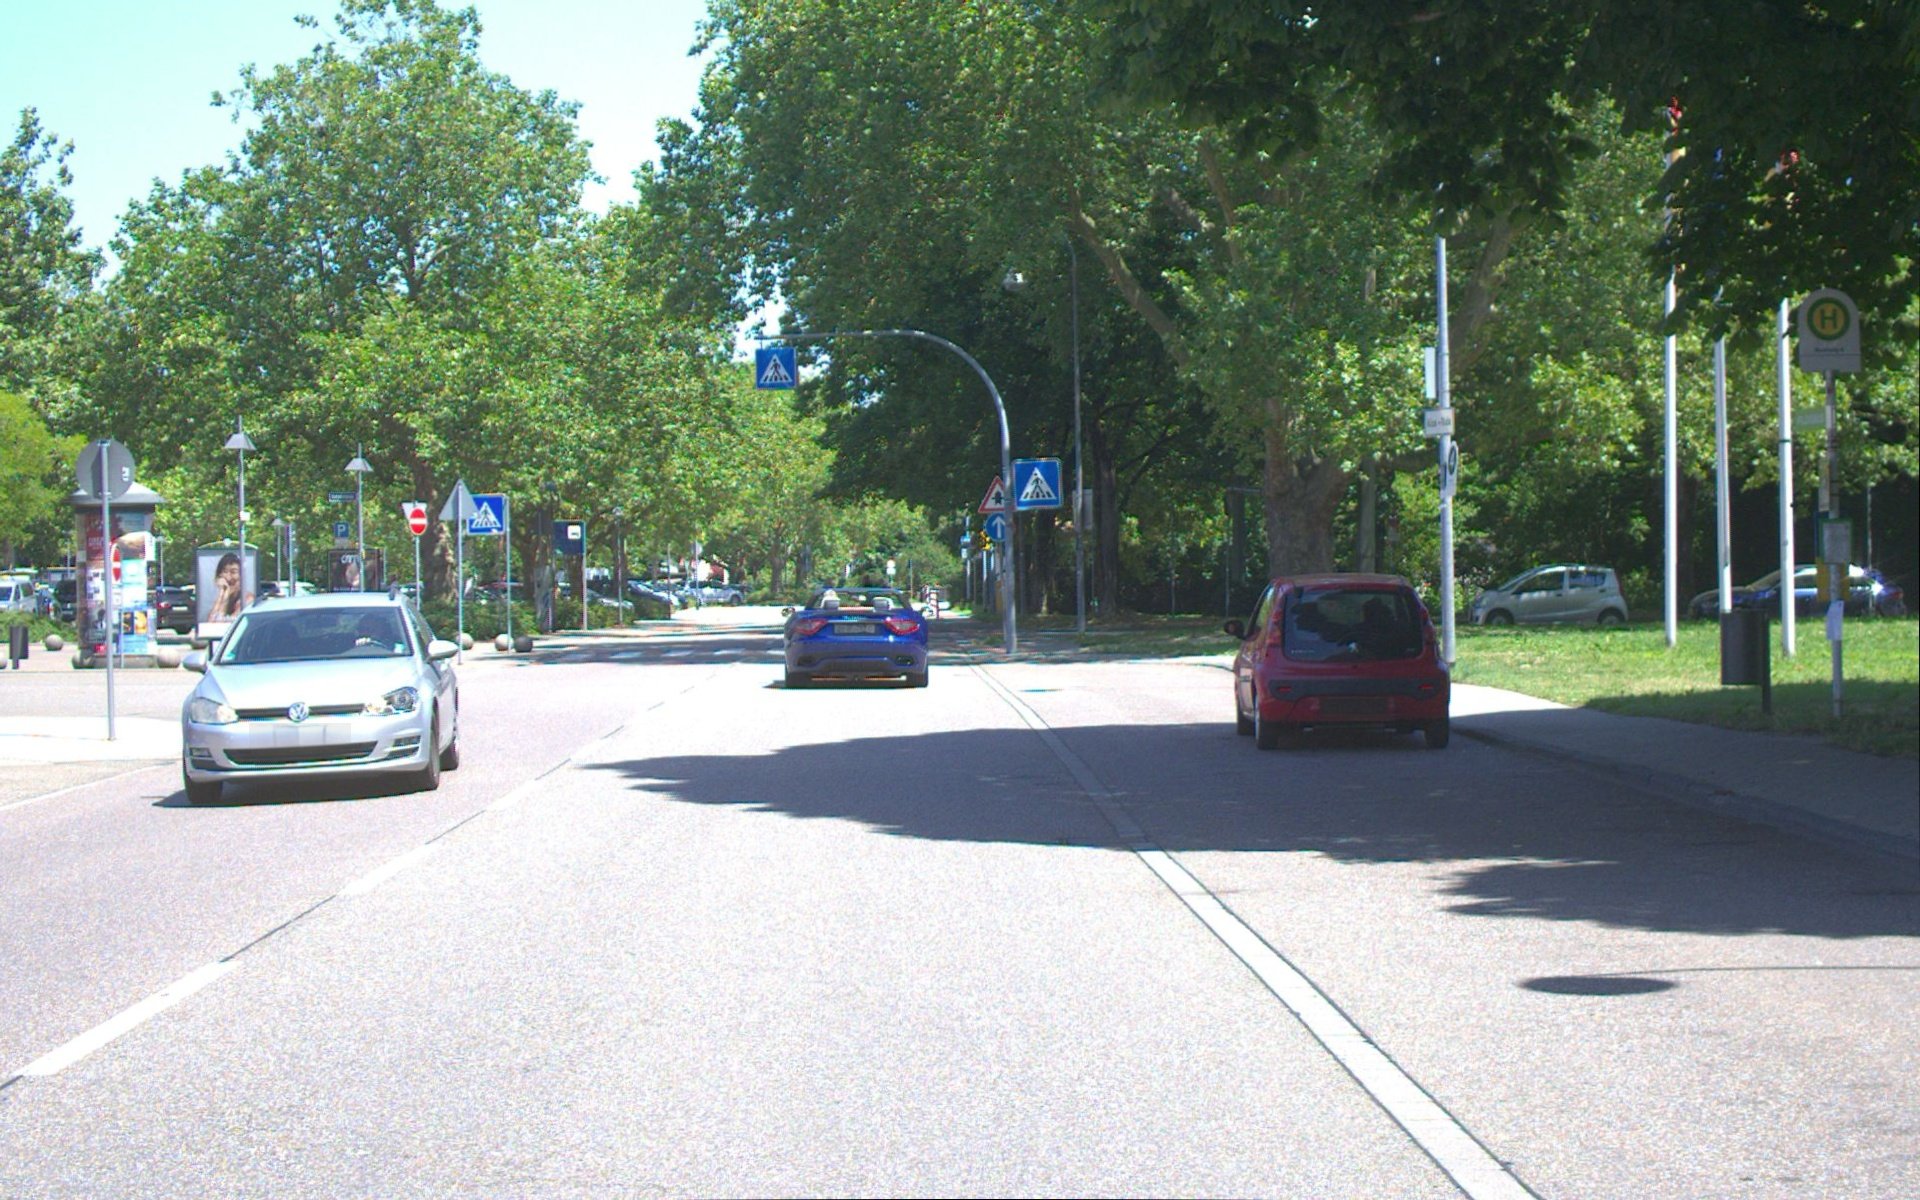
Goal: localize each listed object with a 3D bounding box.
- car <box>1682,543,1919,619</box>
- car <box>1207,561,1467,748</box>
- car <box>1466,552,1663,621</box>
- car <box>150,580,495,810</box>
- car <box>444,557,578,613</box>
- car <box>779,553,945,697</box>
[{"bbox_3d":[18.750,-0.423,76.877,4.824,1.602,2.000,-1,1,3],"label":"car"},{"bbox_3d":[3.182,0.430,29.647,1.718,1.473,3.706,-1,0,-1],"label":"car"},{"bbox_3d":[13.566,-0.312,77.289,4.105,1.461,2.000,-1,1,2],"label":"car"},{"bbox_3d":[-4.658,0.639,25.693,1.815,1.439,4.159,-3,1,-1],"label":"car"},{"bbox_3d":[-14.591,-0.485,111.758,3.986,1.775,2.000,-1,0,-19],"label":"car"},{"bbox_3d":[-1.355,0.319,46.115,2.125,1.842,4.048,0,0,-3],"label":"car"}]
